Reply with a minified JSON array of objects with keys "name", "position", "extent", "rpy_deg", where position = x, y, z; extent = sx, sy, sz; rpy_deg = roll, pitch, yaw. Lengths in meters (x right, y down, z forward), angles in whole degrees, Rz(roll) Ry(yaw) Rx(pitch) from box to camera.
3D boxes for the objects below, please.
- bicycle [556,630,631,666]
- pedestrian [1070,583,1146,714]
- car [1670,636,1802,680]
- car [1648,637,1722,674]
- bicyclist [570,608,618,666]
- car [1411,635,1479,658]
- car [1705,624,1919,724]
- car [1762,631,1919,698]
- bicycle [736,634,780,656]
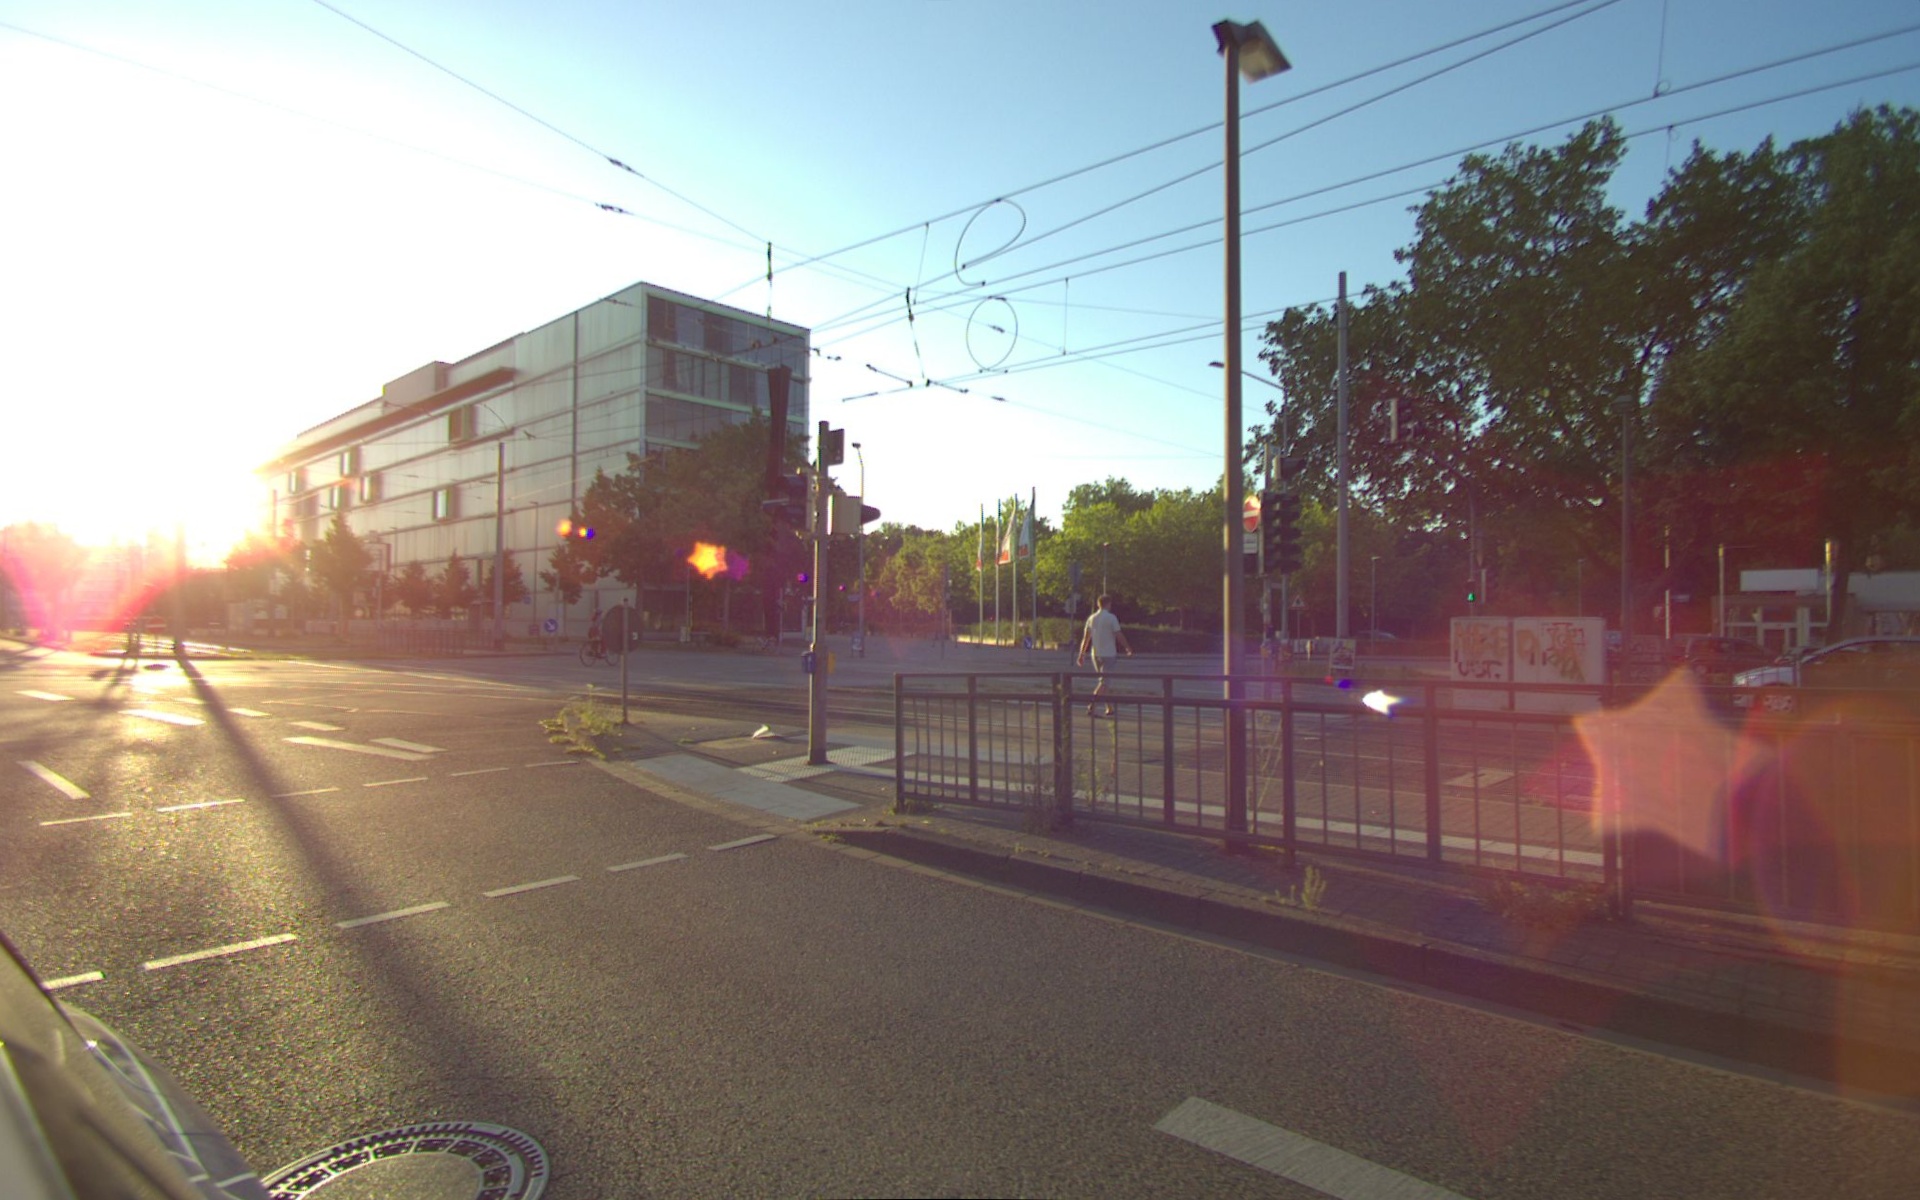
[{"name":"bicycle","position":[-11.200,1.471,31.011],"extent":[0.636,1.076,2.092],"rpy_deg":[-1,-3,43]},{"name":"pedestrian","position":[2.100,0.675,14.445],"extent":[0.788,1.804,0.766],"rpy_deg":[2,-1,-16]},{"name":"car","position":[34.730,2.558,45.395],"extent":[1.918,1.849,4.398],"rpy_deg":[2,-3,-41]},{"name":"car","position":[41.757,3.182,58.270],"extent":[3.931,2.063,1.927],"rpy_deg":[1,-2,-28]},{"name":"bicyclist","position":[-11.200,1.124,30.953],"extent":[1.035,1.731,0.981],"rpy_deg":[-1,-3,44]},{"name":"car","position":[35.183,3.373,73.438],"extent":[1.970,1.573,4.003],"rpy_deg":[2,-3,-44]},{"name":"car","position":[16.743,1.327,18.809],"extent":[4.545,1.741,1.837],"rpy_deg":[-1,-2,40]},{"name":"car","position":[26.892,1.891,30.312],"extent":[1.970,1.860,4.248],"rpy_deg":[2,-3,-43]},{"name":"bicycle","position":[-10.949,2.428,54.911],"extent":[0.701,1.144,2.360],"rpy_deg":[-1,-2,41]}]
